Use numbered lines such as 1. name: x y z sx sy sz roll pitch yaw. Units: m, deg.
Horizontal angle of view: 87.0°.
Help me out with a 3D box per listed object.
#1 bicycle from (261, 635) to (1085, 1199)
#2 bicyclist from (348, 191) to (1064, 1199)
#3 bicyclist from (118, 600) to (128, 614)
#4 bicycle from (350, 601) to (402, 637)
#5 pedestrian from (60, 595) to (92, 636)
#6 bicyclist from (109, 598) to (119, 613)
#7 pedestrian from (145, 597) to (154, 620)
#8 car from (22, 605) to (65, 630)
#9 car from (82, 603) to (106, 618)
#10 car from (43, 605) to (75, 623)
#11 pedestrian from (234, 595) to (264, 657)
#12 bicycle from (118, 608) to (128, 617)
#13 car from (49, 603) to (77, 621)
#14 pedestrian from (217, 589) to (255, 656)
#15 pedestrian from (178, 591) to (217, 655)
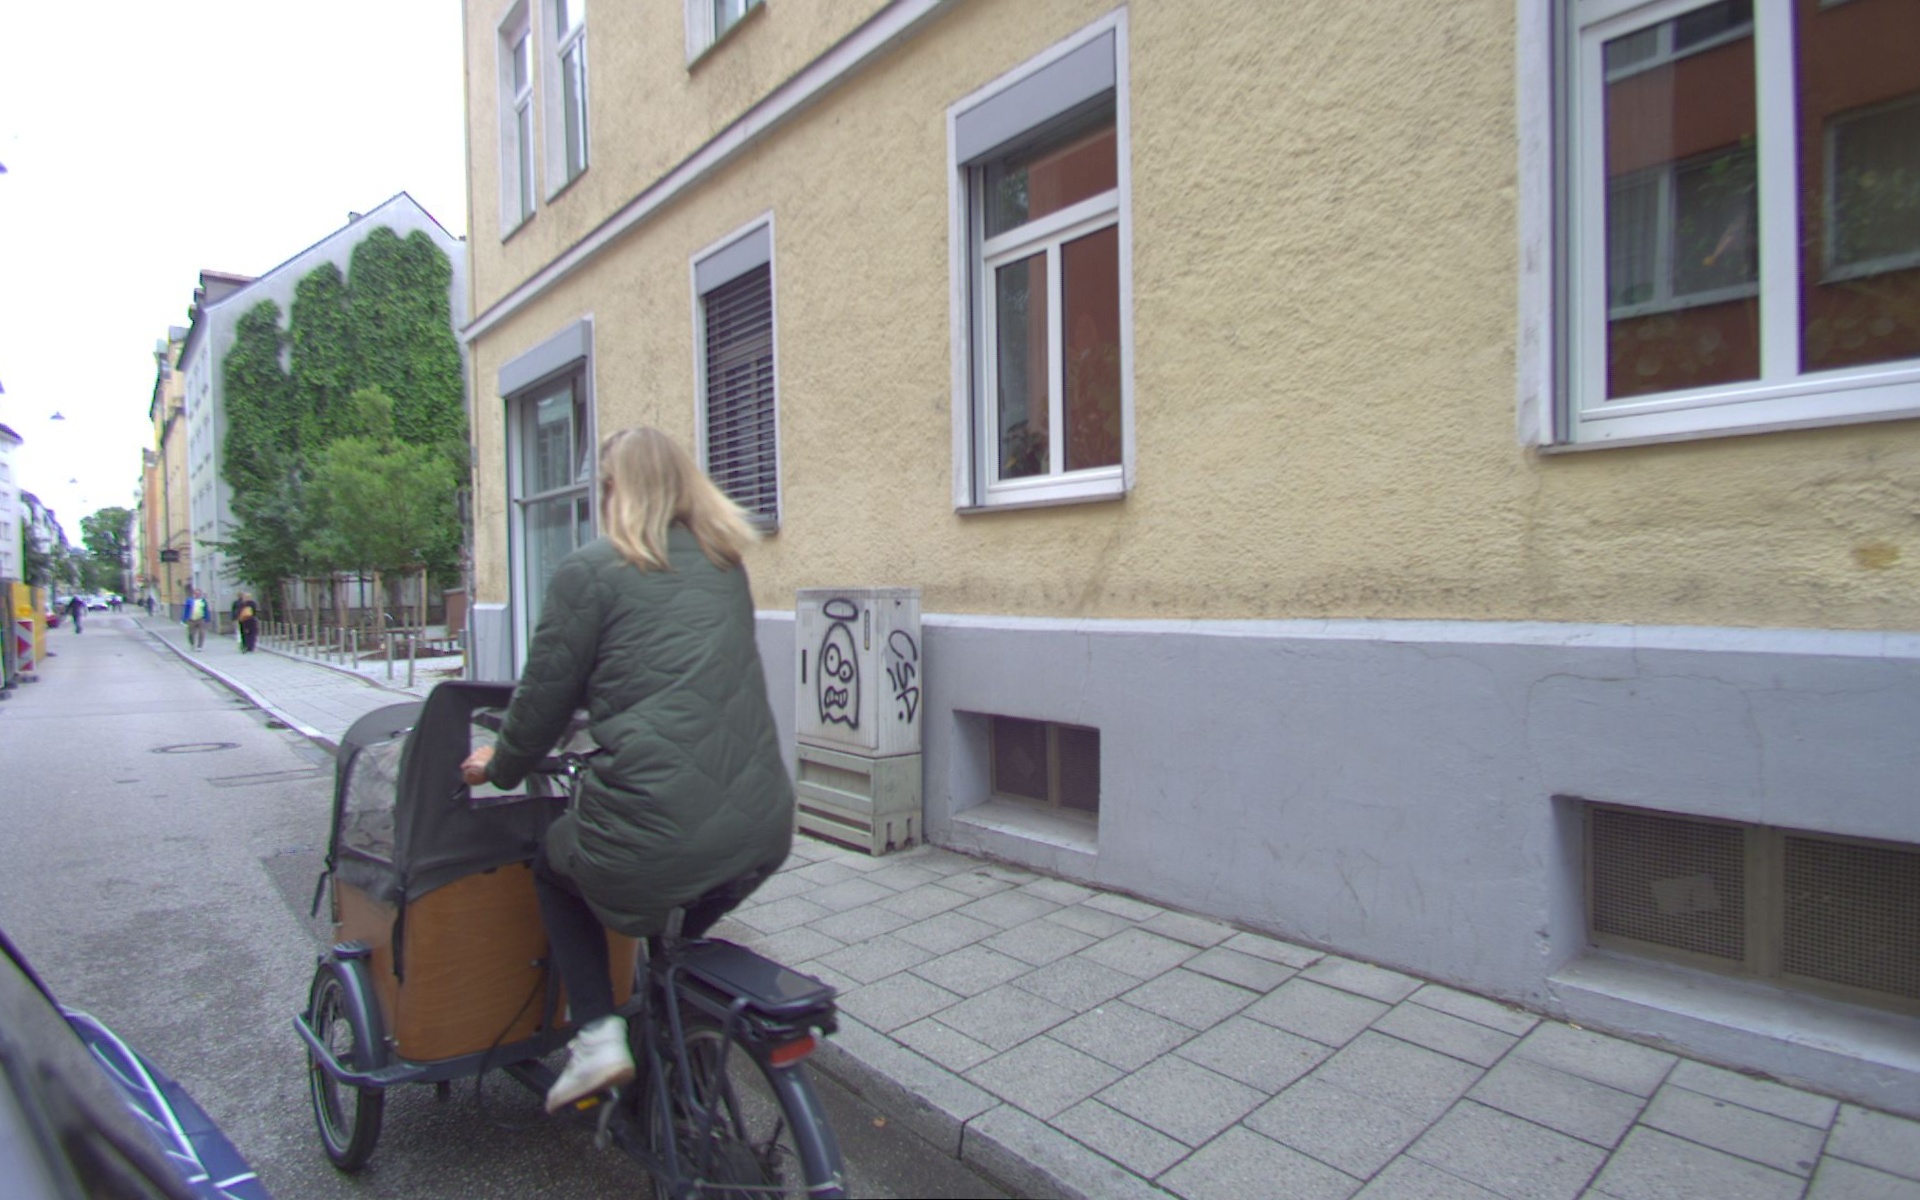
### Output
1. bicycle: -0.918 0.767 2.375 0.920 1.267 2.417 0 1 -41
2. bicyclist: -0.522 0.383 1.916 0.915 1.734 1.101 0 0 -41
3. bicyclist: -84.999 0.737 102.757 0.708 1.418 0.967 -2 1 -41
4. bicycle: -20.679 0.667 35.817 1.992 1.217 0.706 -1 2 32
5. pedestrian: -42.338 0.722 48.478 0.871 1.917 0.741 -2 1 18
6. bicyclist: -83.765 0.529 100.203 0.690 1.418 0.769 -2 1 -41
7. pedestrian: -64.940 0.670 81.087 0.486 1.838 0.553 -1 0 -41
8. car: -55.653 1.061 61.495 1.782 1.408 4.006 -2 1 -40
9. car: -97.351 1.152 113.771 1.969 1.604 4.382 -2 1 -40
10. car: -66.426 1.009 74.639 1.601 1.275 4.336 -2 1 -40
11. pedestrian: -19.818 0.715 28.196 0.545 1.672 0.999 -2 1 -41
12. bicycle: -84.902 1.271 102.657 0.690 0.938 1.696 -2 1 -41
13. car: -81.261 1.039 91.712 1.767 1.570 4.006 -2 1 -40
14. pedestrian: -20.725 0.630 28.968 0.766 1.850 0.993 -2 1 -41
15. pedestrian: -22.849 0.668 30.324 0.848 1.858 0.976 -3 1 -39
